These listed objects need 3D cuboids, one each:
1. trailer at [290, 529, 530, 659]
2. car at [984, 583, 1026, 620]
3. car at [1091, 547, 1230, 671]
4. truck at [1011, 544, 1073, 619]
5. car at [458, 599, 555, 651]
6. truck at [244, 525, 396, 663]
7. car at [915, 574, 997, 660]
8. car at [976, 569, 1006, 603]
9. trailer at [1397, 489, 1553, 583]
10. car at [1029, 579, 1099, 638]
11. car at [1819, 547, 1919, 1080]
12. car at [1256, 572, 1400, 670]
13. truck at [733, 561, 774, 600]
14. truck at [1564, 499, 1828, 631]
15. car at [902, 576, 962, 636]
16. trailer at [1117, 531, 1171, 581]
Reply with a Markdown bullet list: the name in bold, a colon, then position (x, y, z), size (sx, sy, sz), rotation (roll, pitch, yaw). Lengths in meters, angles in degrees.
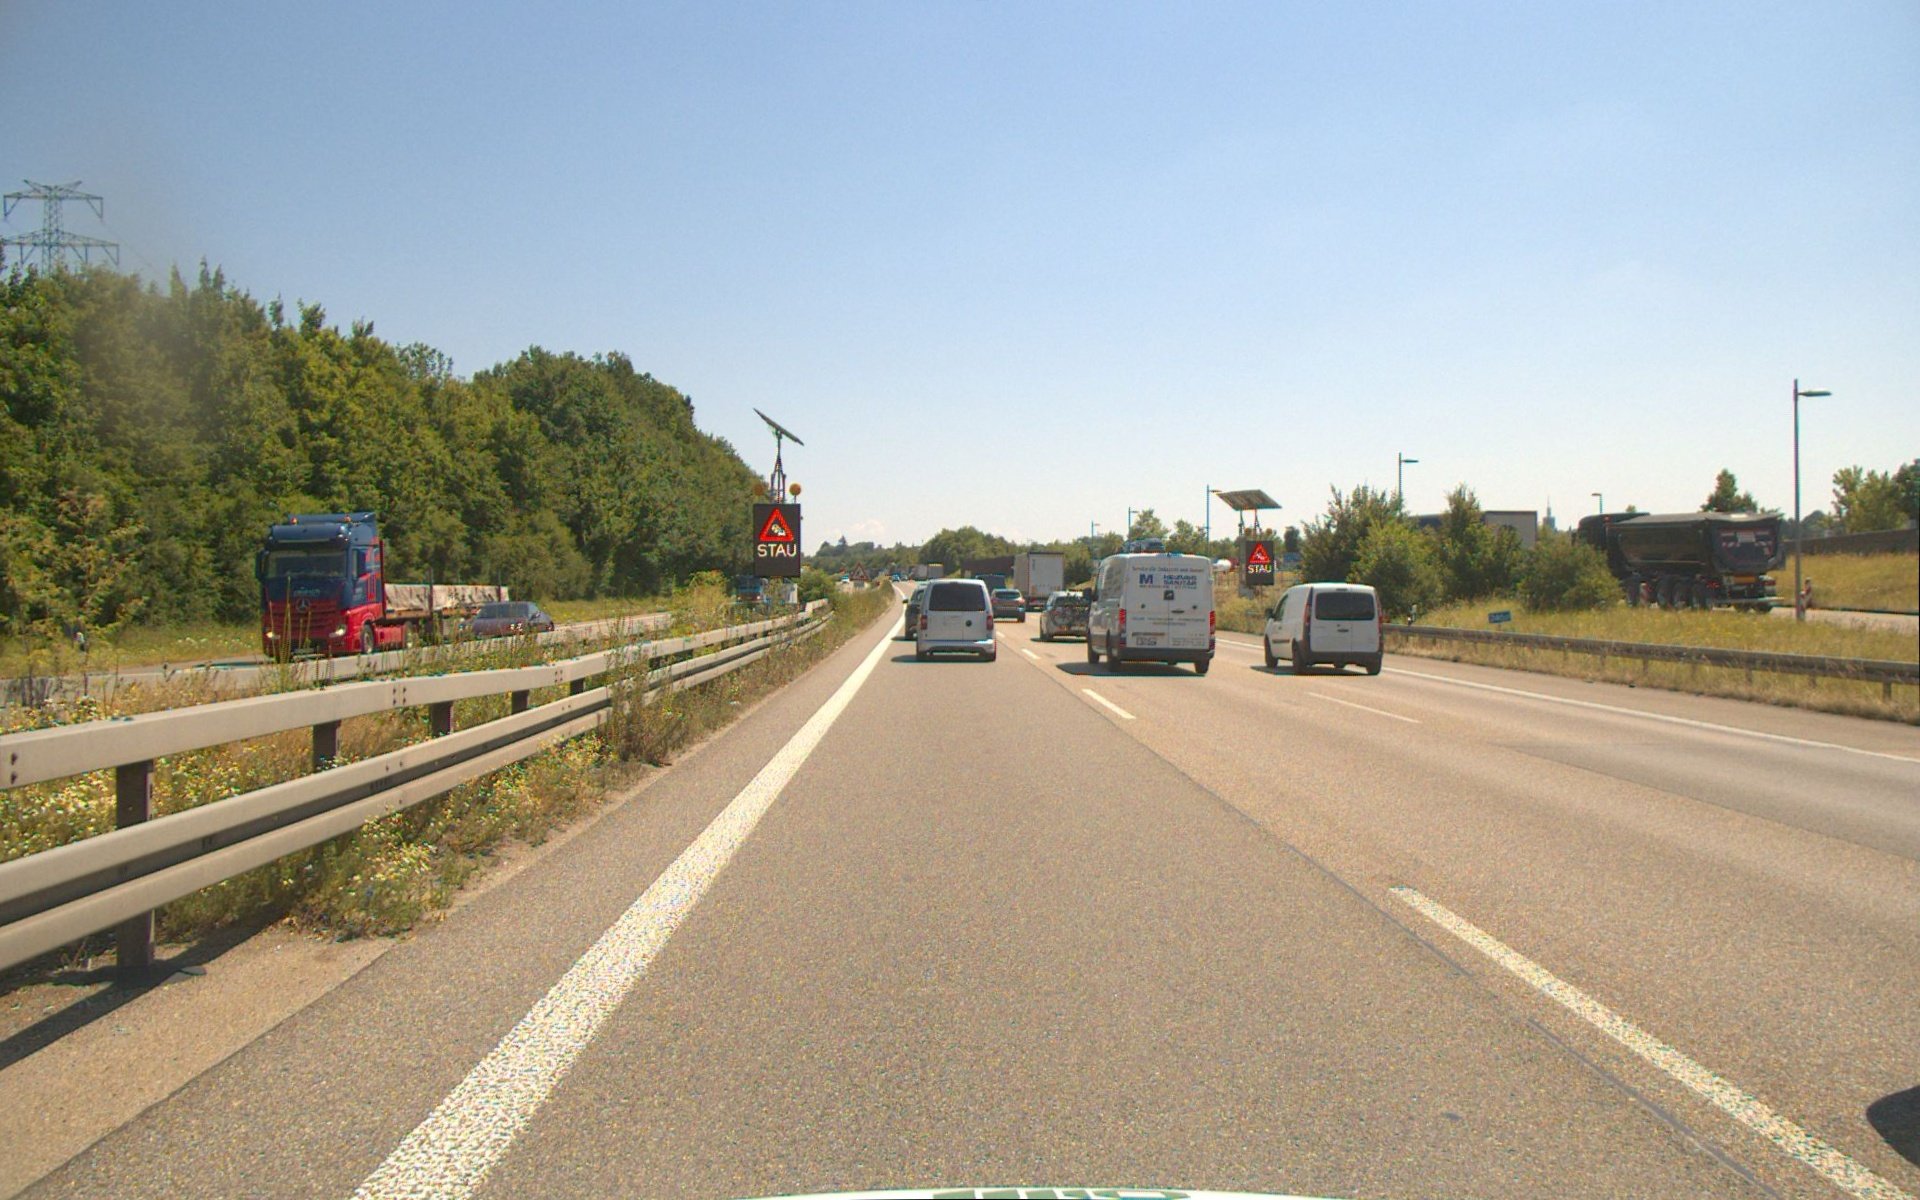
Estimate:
- **trailer**: position (-17.610, -0.220, 54.682), size (2.935, 3.621, 16.019), rotation (-1, 0, -1)
- **car**: position (2.153, 0.073, 80.023), size (1.863, 1.701, 4.088), rotation (-1, 0, 0)
- **car**: position (3.978, 0.157, 33.762), size (2.137, 2.293, 5.363), rotation (1, 0, 0)
- **truck**: position (5.835, -1.259, 119.646), size (3.711, 5.087, 12.517), rotation (1, 0, 0)
- **car**: position (-13.155, 0.700, 48.231), size (1.734, 1.357, 4.918), rotation (-2, 0, -4)
- **truck**: position (-17.379, -0.169, 45.124), size (2.935, 3.621, 3.117), rotation (-1, 0, -2)
- **car**: position (-0.089, 0.350, 37.224), size (1.709, 1.795, 4.088), rotation (-1, 0, 0)
- **car**: position (1.802, -0.804, 97.881), size (1.640, 1.925, 4.088), rotation (-1, 0, 0)
- **trailer**: position (25.667, -3.012, 83.495), size (2.991, 4.154, 14.253), rotation (1, 0, -2)
- **car**: position (3.230, 0.245, 52.033), size (1.935, 1.763, 4.088), rotation (-1, 0, 0)
- **car**: position (4.005, 0.690, 2.969), size (1.911, 1.665, 5.599), rotation (1, 0, -1)
- **car**: position (7.588, 0.404, 34.482), size (1.911, 1.870, 4.176), rotation (-1, 0, -2)
- **truck**: position (-20.861, -1.950, 167.592), size (2.935, 3.868, 10.786), rotation (-1, 0, -1)
- **truck**: position (25.897, -1.136, 59.303), size (3.711, 4.154, 12.516), rotation (1, 0, -1)
- **car**: position (-0.821, 0.171, 50.773), size (1.709, 1.731, 4.088), rotation (-1, 0, 0)
- **trailer**: position (17.493, -4.083, 158.696), size (2.553, 4.332, 18.415), rotation (1, 0, -2)
